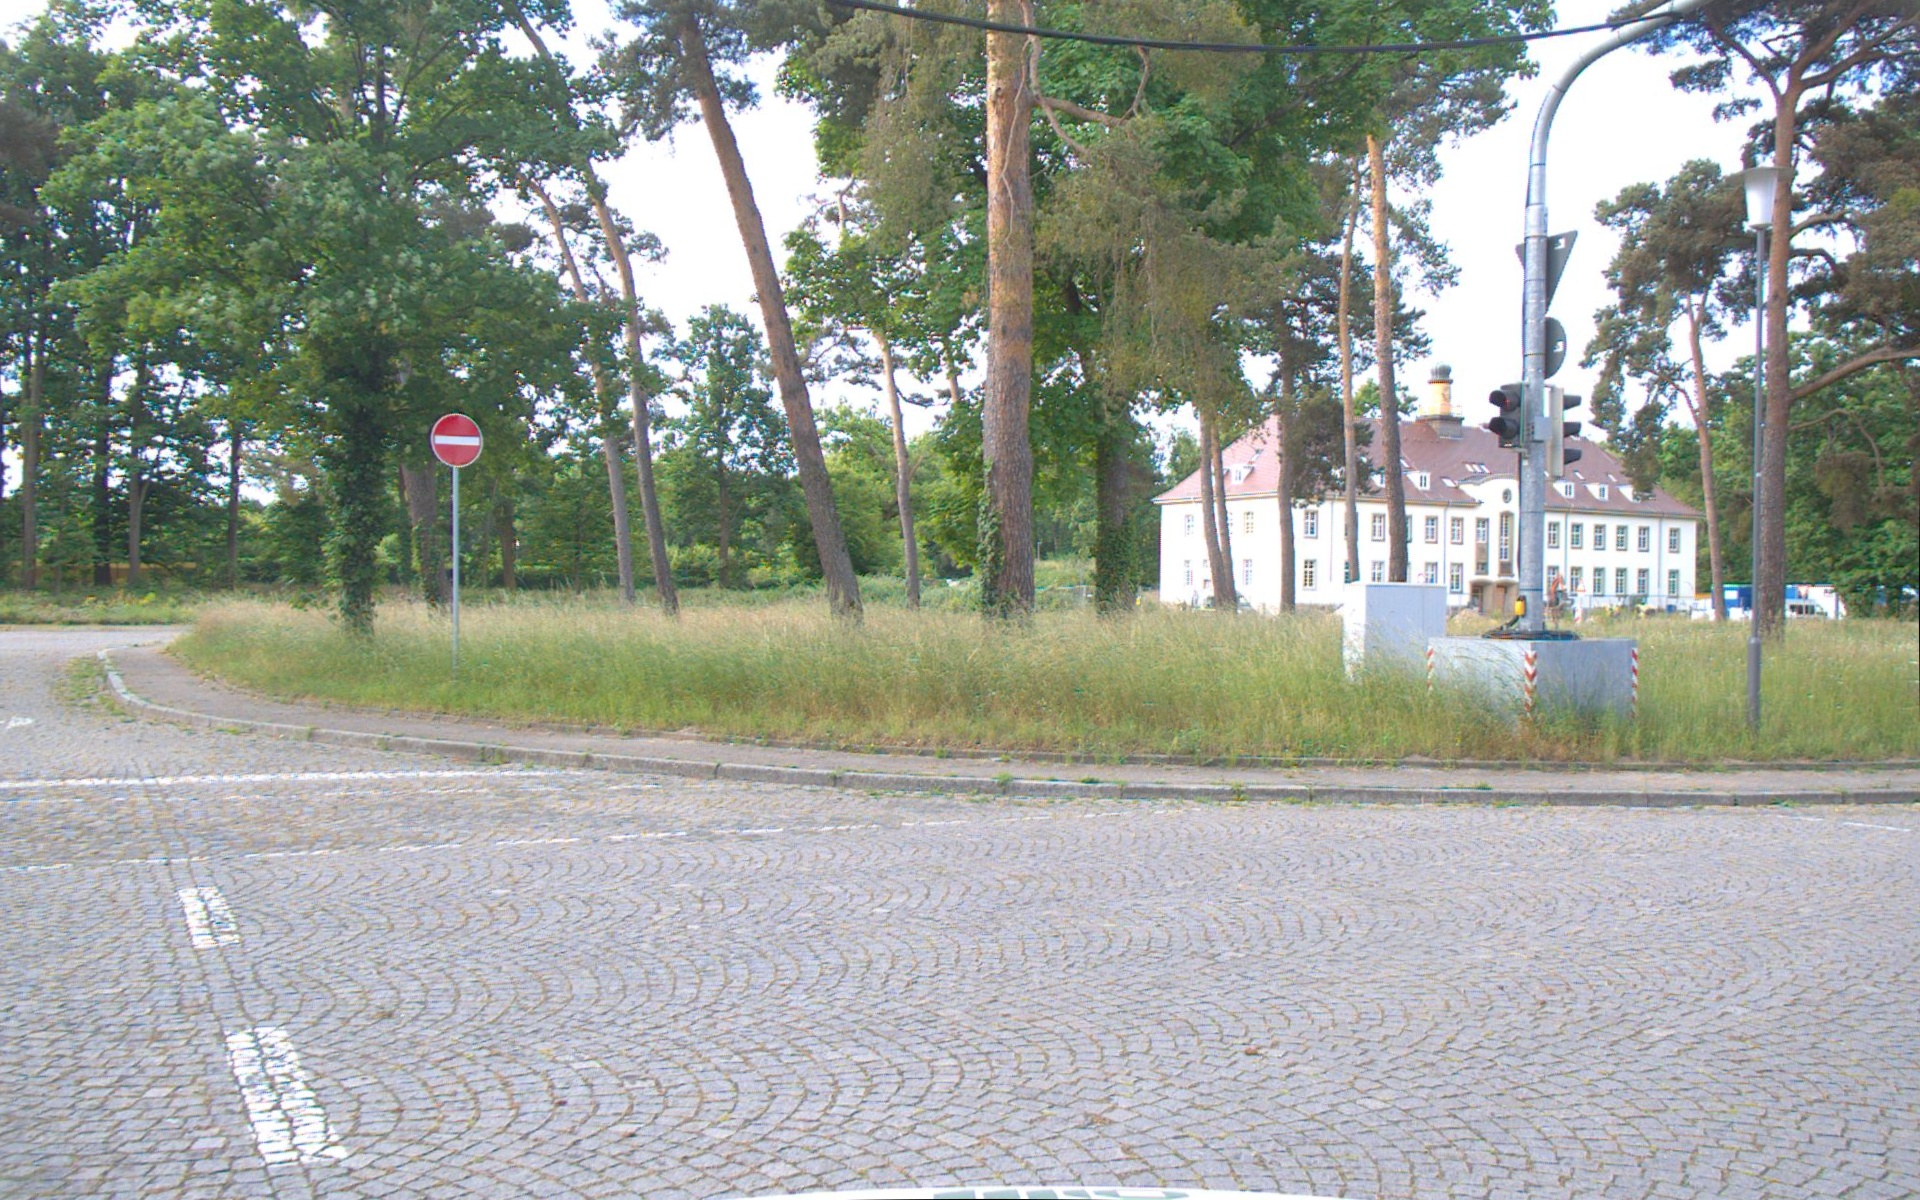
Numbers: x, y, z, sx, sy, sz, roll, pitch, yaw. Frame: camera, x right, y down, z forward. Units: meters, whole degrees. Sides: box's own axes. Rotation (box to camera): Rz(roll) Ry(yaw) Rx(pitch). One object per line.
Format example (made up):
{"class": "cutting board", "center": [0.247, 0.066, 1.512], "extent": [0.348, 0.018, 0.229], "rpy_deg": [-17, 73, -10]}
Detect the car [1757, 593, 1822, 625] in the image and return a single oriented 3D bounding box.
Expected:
{"class": "car", "center": [58.110, 0.645, 115.832], "extent": [4.284, 2.132, 2.048], "rpy_deg": [2, -2, -30]}

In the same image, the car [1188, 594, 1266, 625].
{"class": "car", "center": [20.131, 0.681, 125.019], "extent": [2.345, 2.152, 5.748], "rpy_deg": [3, -1, -37]}

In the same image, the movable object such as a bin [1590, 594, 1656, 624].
{"class": "movable object such as a bin", "center": [52.094, 0.686, 130.091], "extent": [2.340, 2.293, 4.489], "rpy_deg": [2, -1, -23]}
